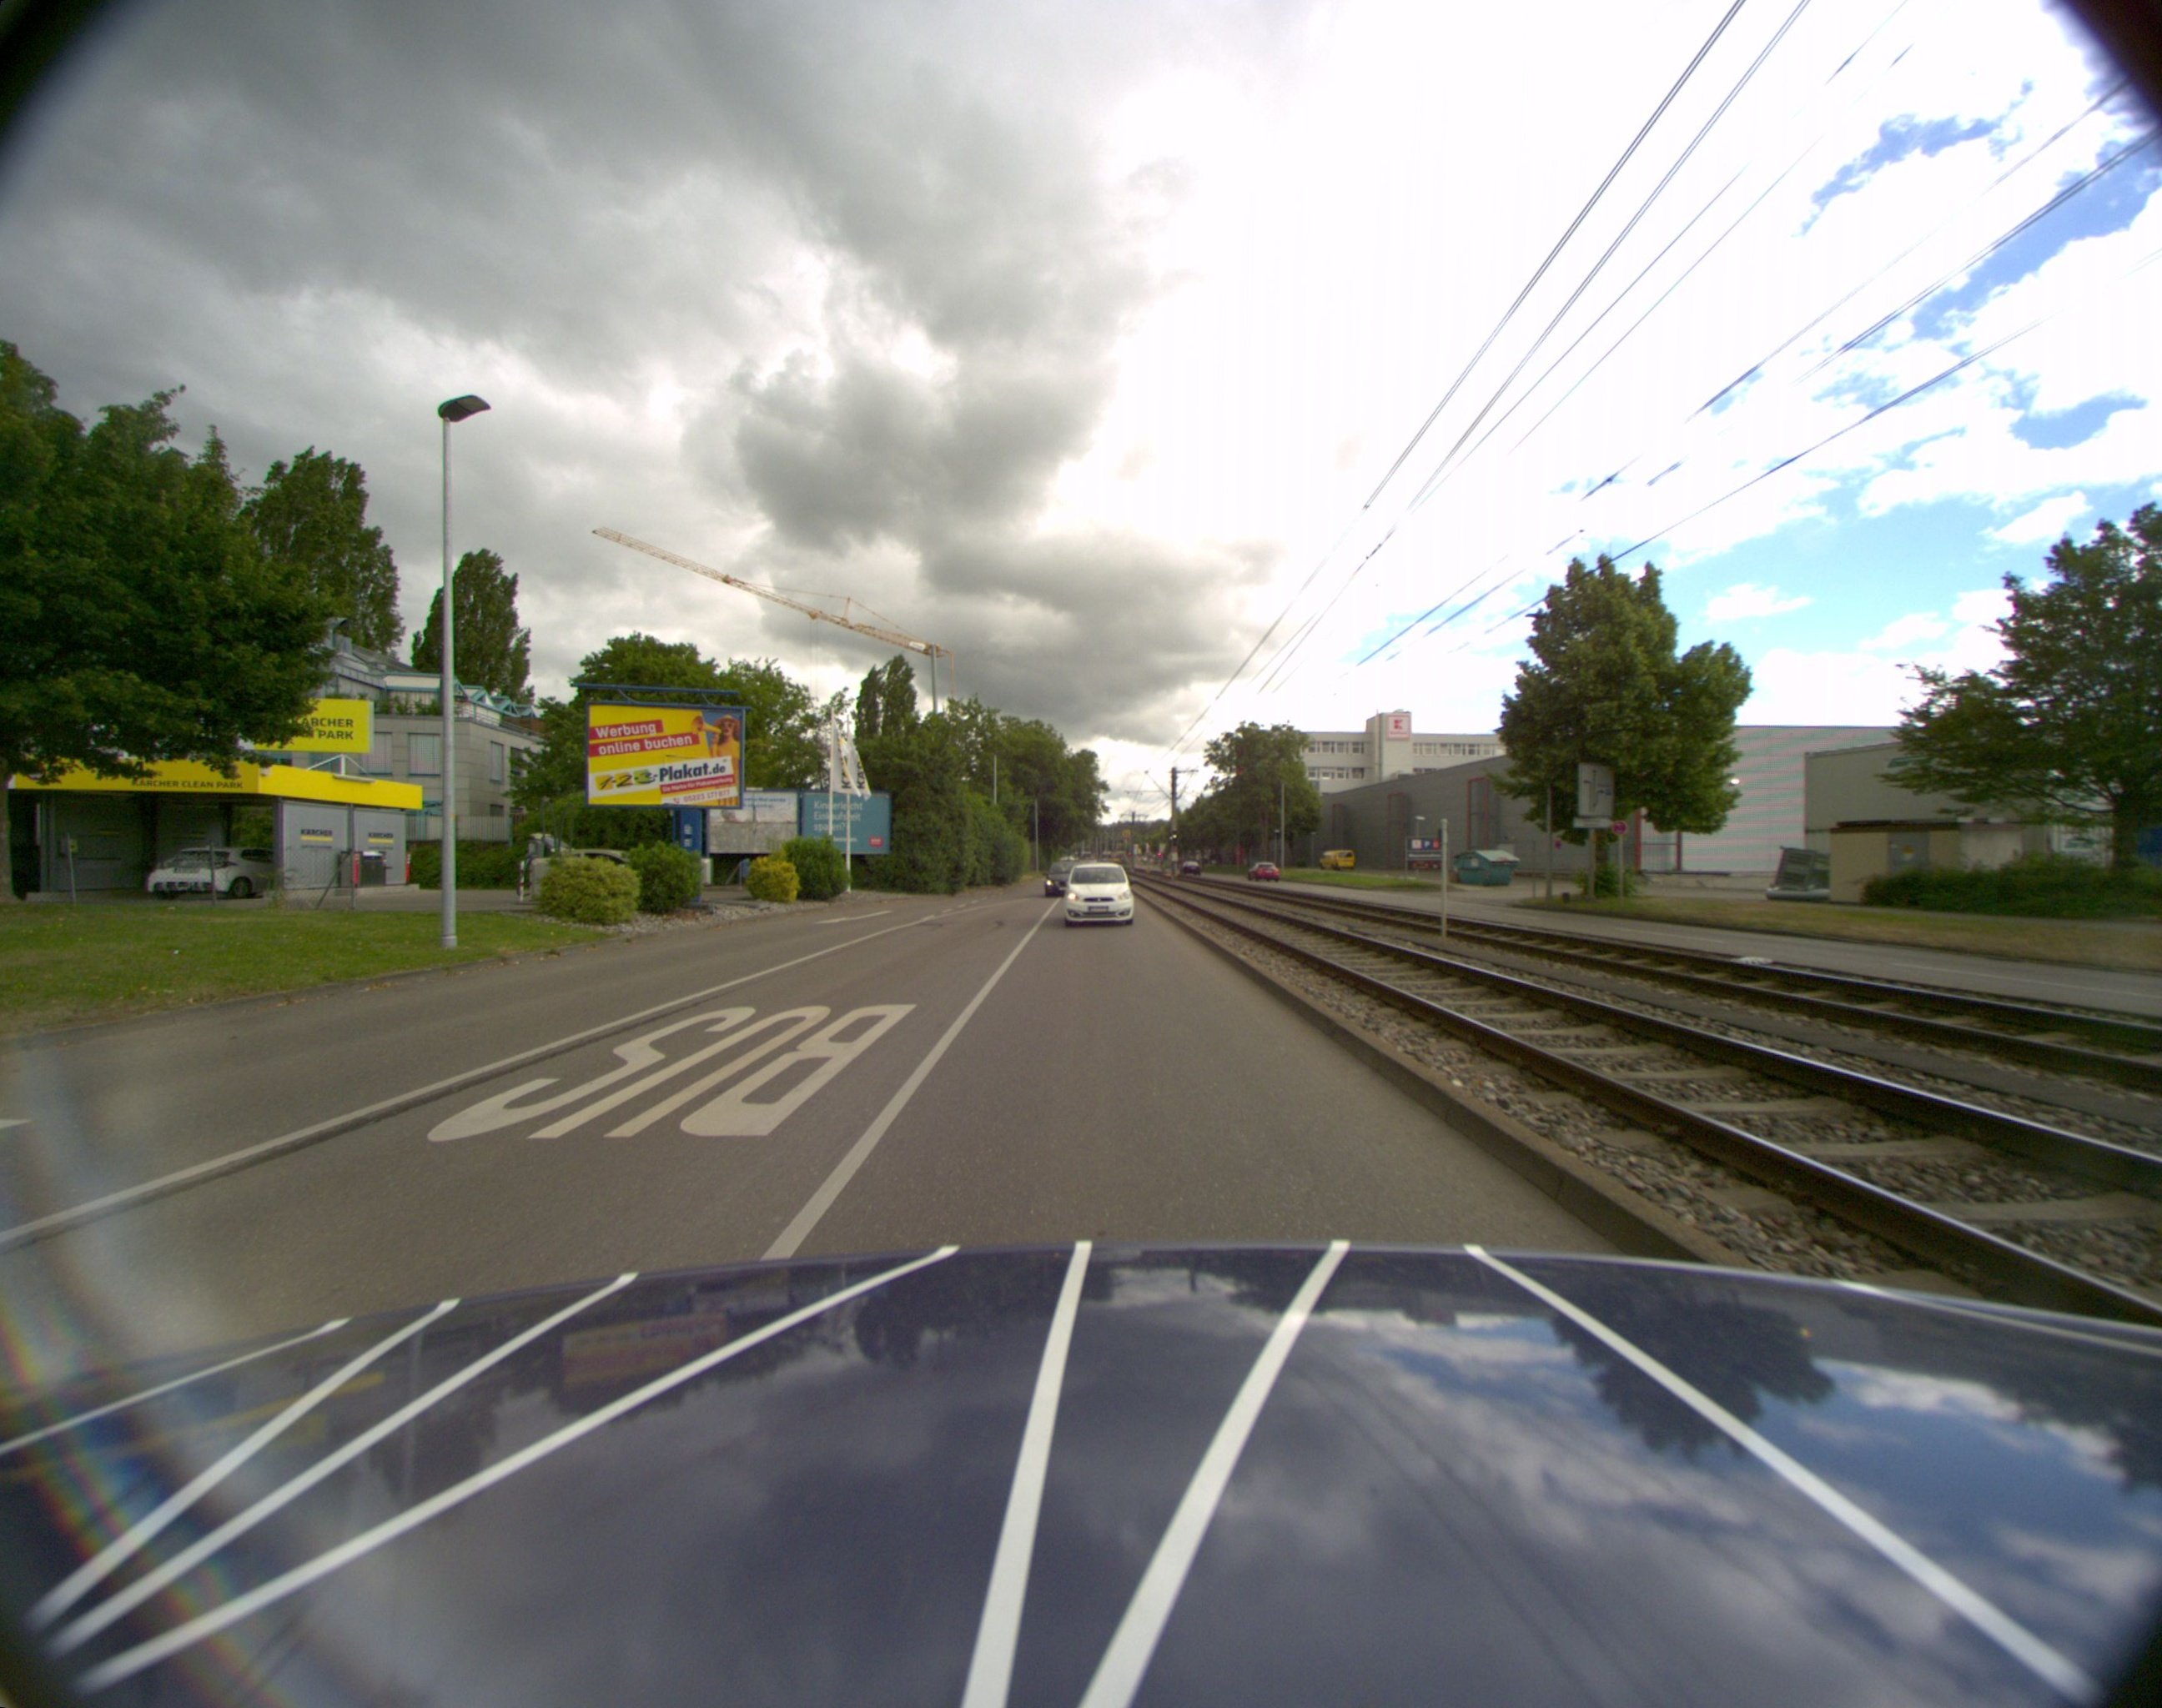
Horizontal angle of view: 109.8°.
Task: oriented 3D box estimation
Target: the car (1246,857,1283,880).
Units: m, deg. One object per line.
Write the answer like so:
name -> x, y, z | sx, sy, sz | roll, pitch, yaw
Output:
car -> 14.180, 1.085, 58.948 | 1.797, 1.761, 3.999 | 0, 0, -1

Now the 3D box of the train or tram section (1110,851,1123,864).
train or tram section -> 9.886, 0.994, 213.410 | 2.778, 3.753, 13.786 | -1, 0, -1

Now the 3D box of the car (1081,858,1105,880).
car -> 0.868, 1.083, 56.487 | 1.693, 1.521, 4.000 | -2, 0, 1

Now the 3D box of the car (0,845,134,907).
car -> -28.535, 0.550, 20.382 | 1.839, 1.564, 3.927 | 0, 0, -12

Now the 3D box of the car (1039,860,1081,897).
car -> -0.907, 1.078, 34.726 | 1.714, 1.586, 4.000 | -1, 0, 1

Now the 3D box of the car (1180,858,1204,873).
car -> 11.660, 1.174, 80.006 | 1.763, 1.393, 4.443 | 2, 0, 0

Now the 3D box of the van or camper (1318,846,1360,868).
van or camper -> 25.100, 0.283, 74.058 | 2.109, 2.002, 5.241 | -1, 0, -3

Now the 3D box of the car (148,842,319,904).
car -> -24.043, 0.500, 21.759 | 1.633, 1.630, 3.525 | 0, 0, -16

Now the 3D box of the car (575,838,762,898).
car -> -12.053, 0.398, 22.574 | 4.029, 1.646, 2.944 | 0, 0, -6

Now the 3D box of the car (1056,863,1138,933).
car -> 0.357, 1.000, 18.740 | 1.765, 1.469, 4.031 | -2, 0, 0
